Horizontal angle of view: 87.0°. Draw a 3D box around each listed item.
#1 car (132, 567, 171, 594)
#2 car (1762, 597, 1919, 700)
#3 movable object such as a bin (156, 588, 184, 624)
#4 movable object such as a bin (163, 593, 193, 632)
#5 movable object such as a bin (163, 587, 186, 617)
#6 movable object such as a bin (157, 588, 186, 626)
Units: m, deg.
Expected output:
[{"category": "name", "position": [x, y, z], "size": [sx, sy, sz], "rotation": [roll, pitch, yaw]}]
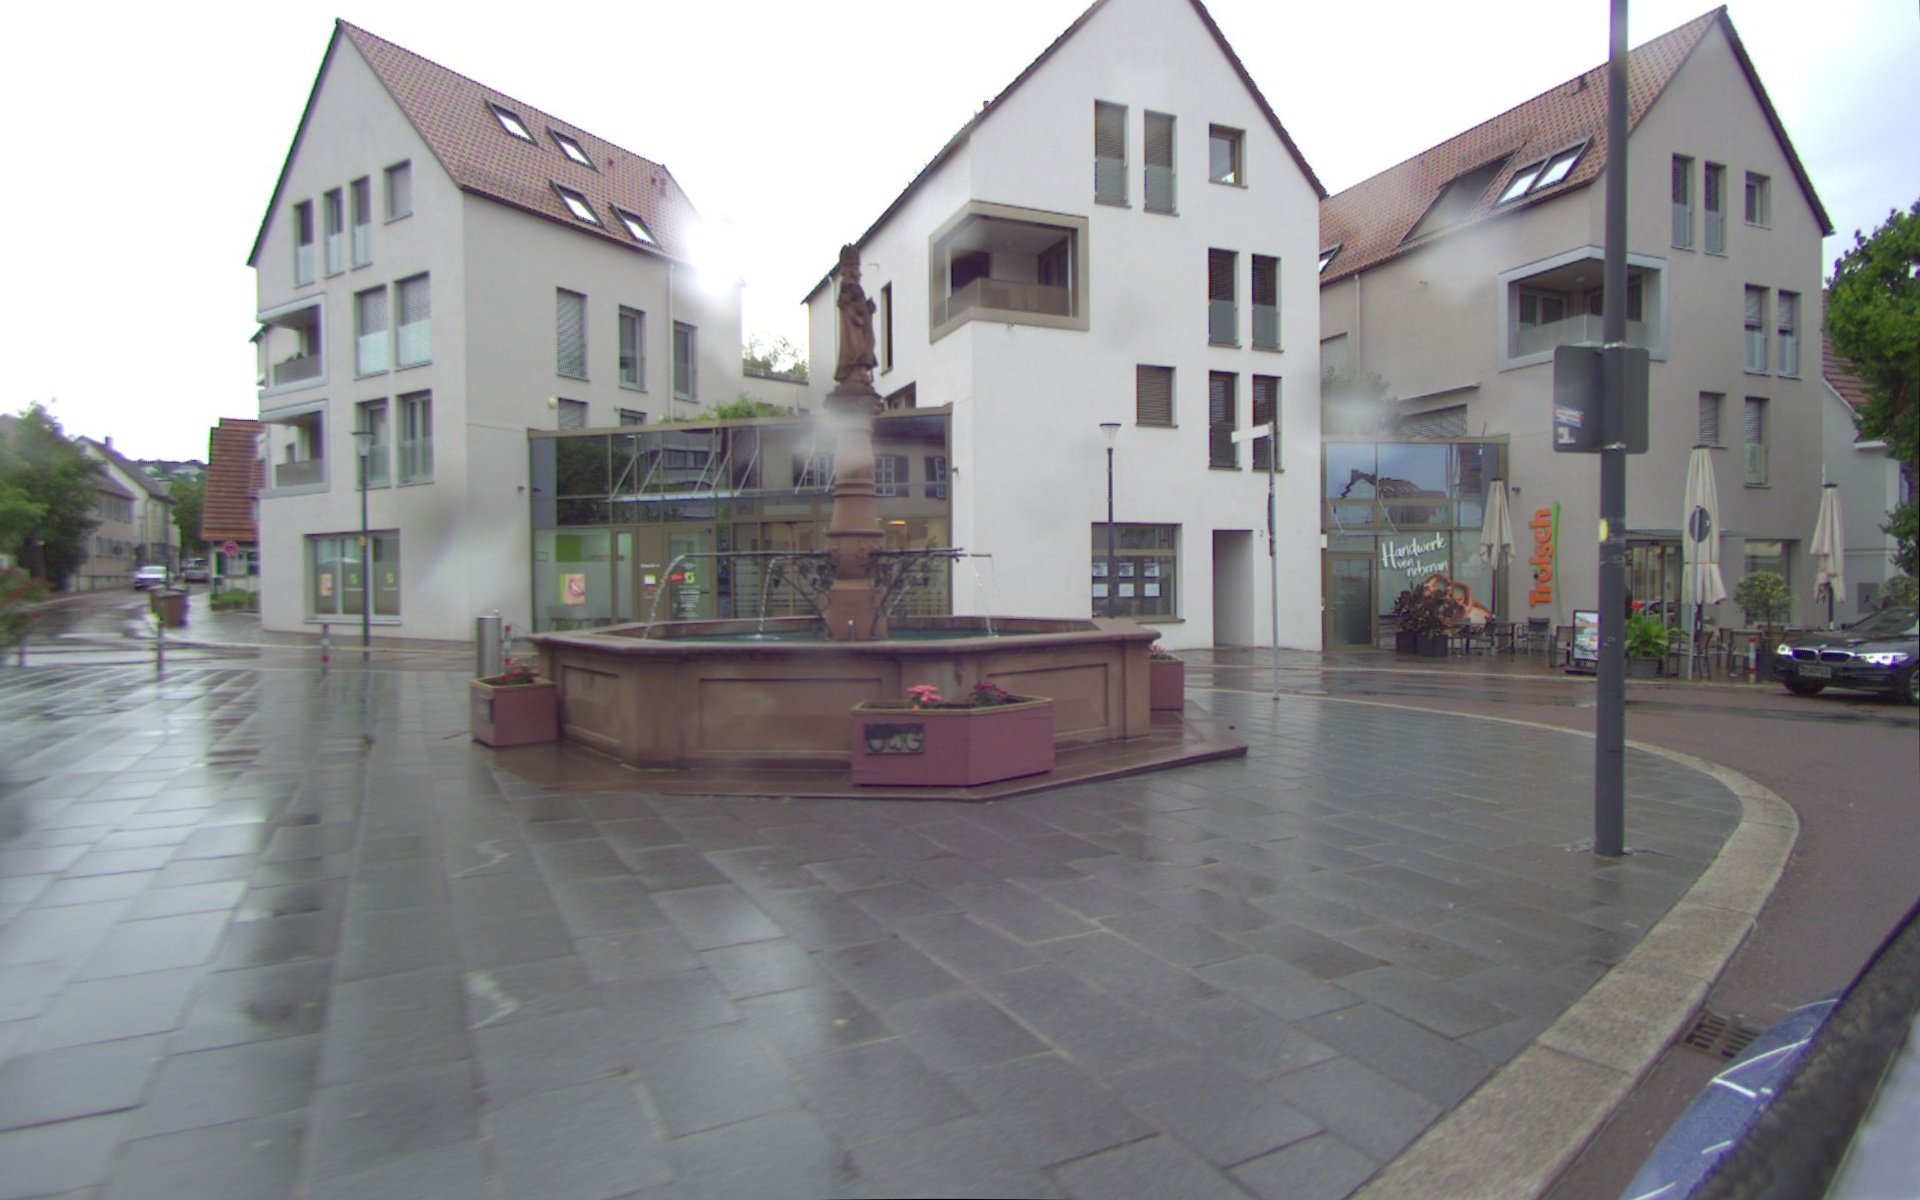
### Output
[{"category": "car", "position": [-56.188, -1.362, 70.374], "size": [1.963, 1.830, 3.998], "rotation": [0, 2, -37]}, {"category": "car", "position": [14.767, 0.663, 15.243], "size": [4.353, 1.387, 1.884], "rotation": [0, 1, -13]}, {"category": "movable object such as a bin", "position": [-28.828, 0.199, 36.929], "size": [0.766, 1.274, 1.016], "rotation": [0, 1, -39]}, {"category": "movable object such as a bin", "position": [-26.075, 0.406, 33.747], "size": [0.766, 1.274, 1.016], "rotation": [0, 1, -39]}, {"category": "movable object such as a bin", "position": [-34.618, 0.084, 44.619], "size": [0.766, 1.274, 1.016], "rotation": [0, 1, -39]}, {"category": "movable object such as a bin", "position": [-27.691, 0.236, 35.545], "size": [0.766, 1.274, 1.016], "rotation": [0, 1, -39]}]
